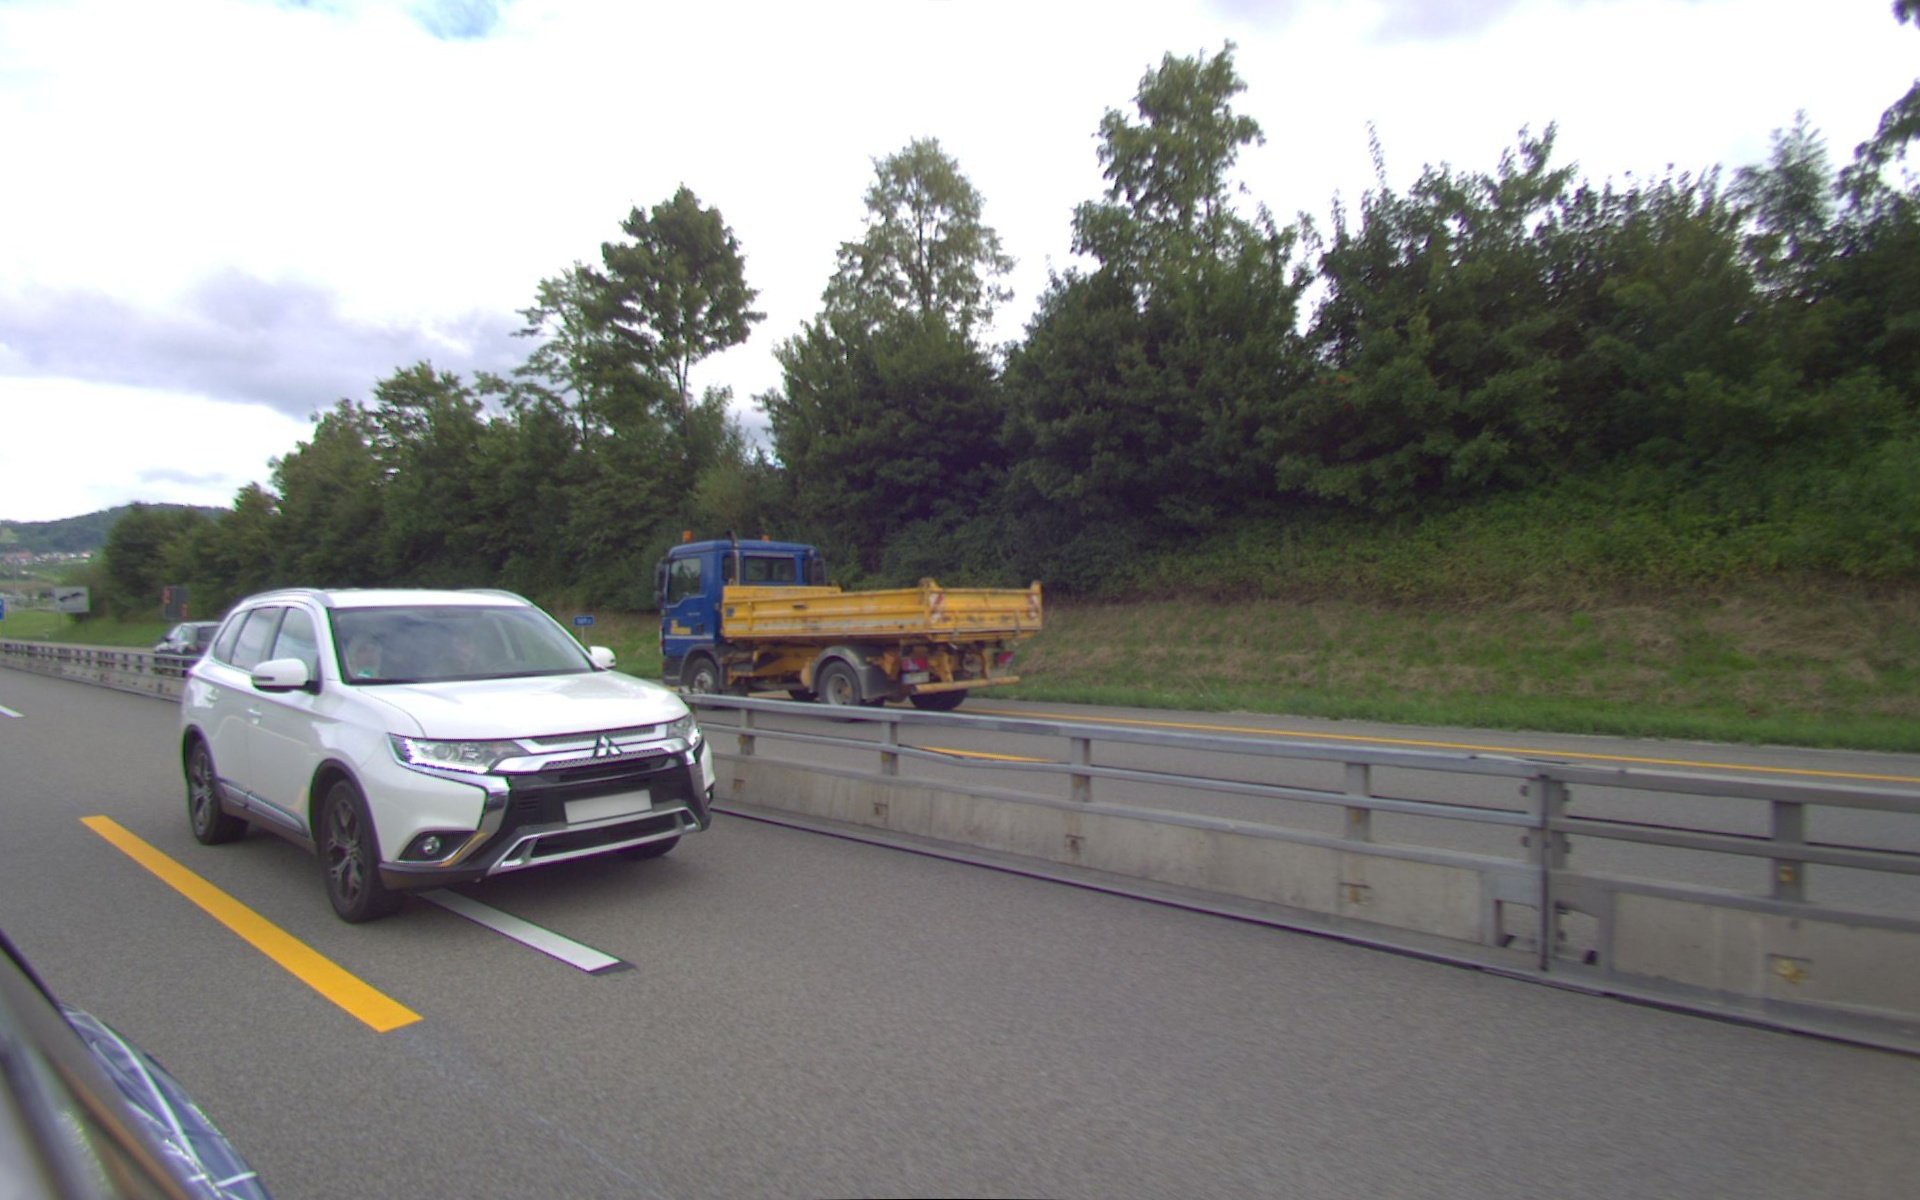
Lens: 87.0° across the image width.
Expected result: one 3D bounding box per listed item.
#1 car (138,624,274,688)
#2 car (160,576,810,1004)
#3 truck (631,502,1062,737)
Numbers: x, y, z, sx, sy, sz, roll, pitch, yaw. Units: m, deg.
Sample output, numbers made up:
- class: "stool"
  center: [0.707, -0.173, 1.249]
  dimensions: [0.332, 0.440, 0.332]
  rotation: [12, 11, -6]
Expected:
- class: "car"
  center: [-20.258, 1.435, 27.119]
  dimensions: [4.830, 1.518, 1.973]
  rotation: [-2, -1, 42]
- class: "car"
  center: [-3.161, 0.783, 6.179]
  dimensions: [4.606, 1.640, 1.972]
  rotation: [-2, -2, 42]
- class: "truck"
  center: [-1.945, 0.294, 14.929]
  dimensions: [6.664, 2.738, 2.464]
  rotation: [-2, -1, 41]
